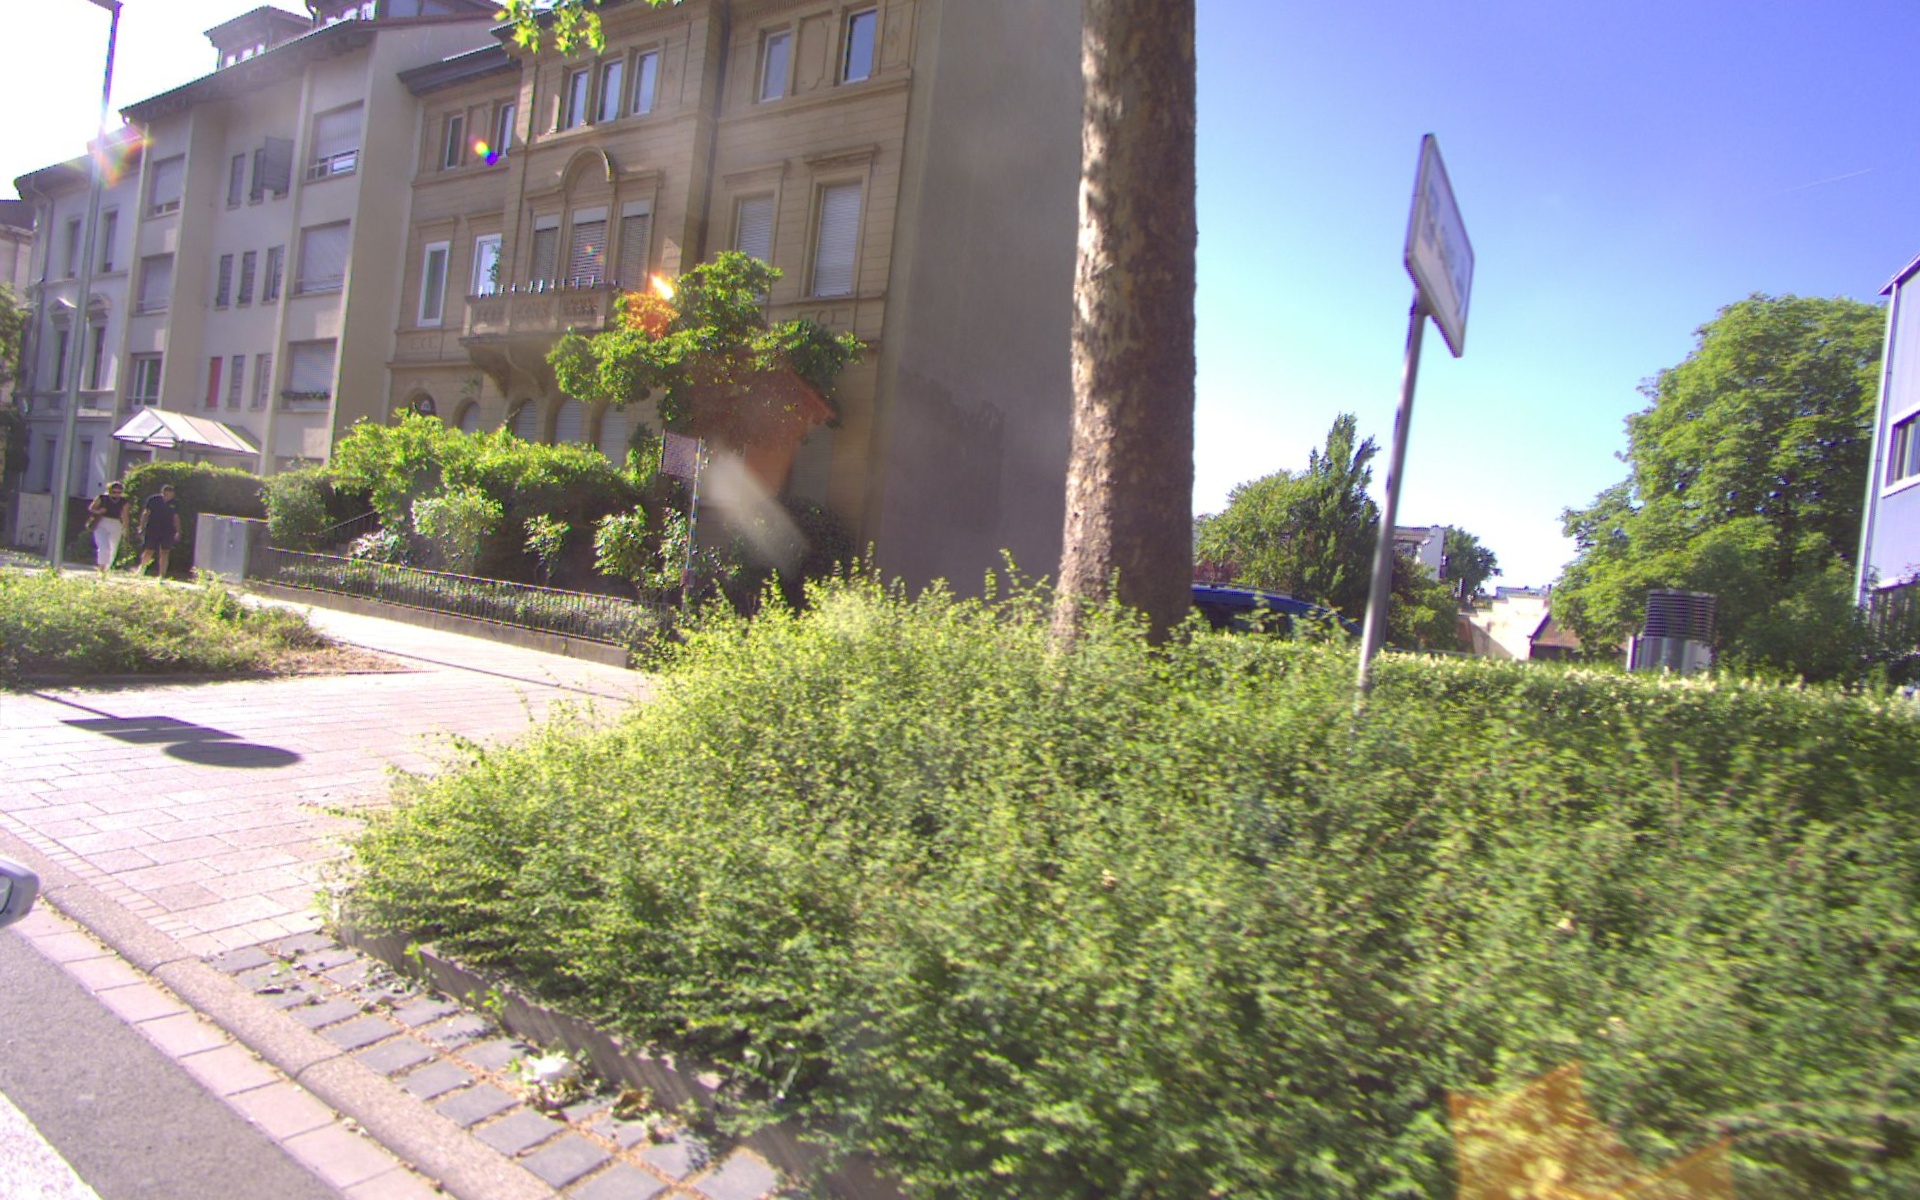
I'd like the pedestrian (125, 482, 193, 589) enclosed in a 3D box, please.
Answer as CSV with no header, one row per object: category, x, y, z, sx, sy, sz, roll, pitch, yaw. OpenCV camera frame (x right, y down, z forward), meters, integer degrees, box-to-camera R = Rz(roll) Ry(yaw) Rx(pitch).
pedestrian,-14.201,-1.153,17.837,0.999,1.777,0.653,7,1,41

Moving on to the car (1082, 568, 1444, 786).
car,3.357,0.855,11.615,3.444,1.875,1.710,8,-1,-2

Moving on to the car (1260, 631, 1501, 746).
car,7.595,1.572,18.368,3.484,1.652,1.856,5,0,-7

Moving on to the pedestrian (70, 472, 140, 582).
pedestrian,-14.742,-1.261,17.344,0.862,1.777,0.674,7,1,41
